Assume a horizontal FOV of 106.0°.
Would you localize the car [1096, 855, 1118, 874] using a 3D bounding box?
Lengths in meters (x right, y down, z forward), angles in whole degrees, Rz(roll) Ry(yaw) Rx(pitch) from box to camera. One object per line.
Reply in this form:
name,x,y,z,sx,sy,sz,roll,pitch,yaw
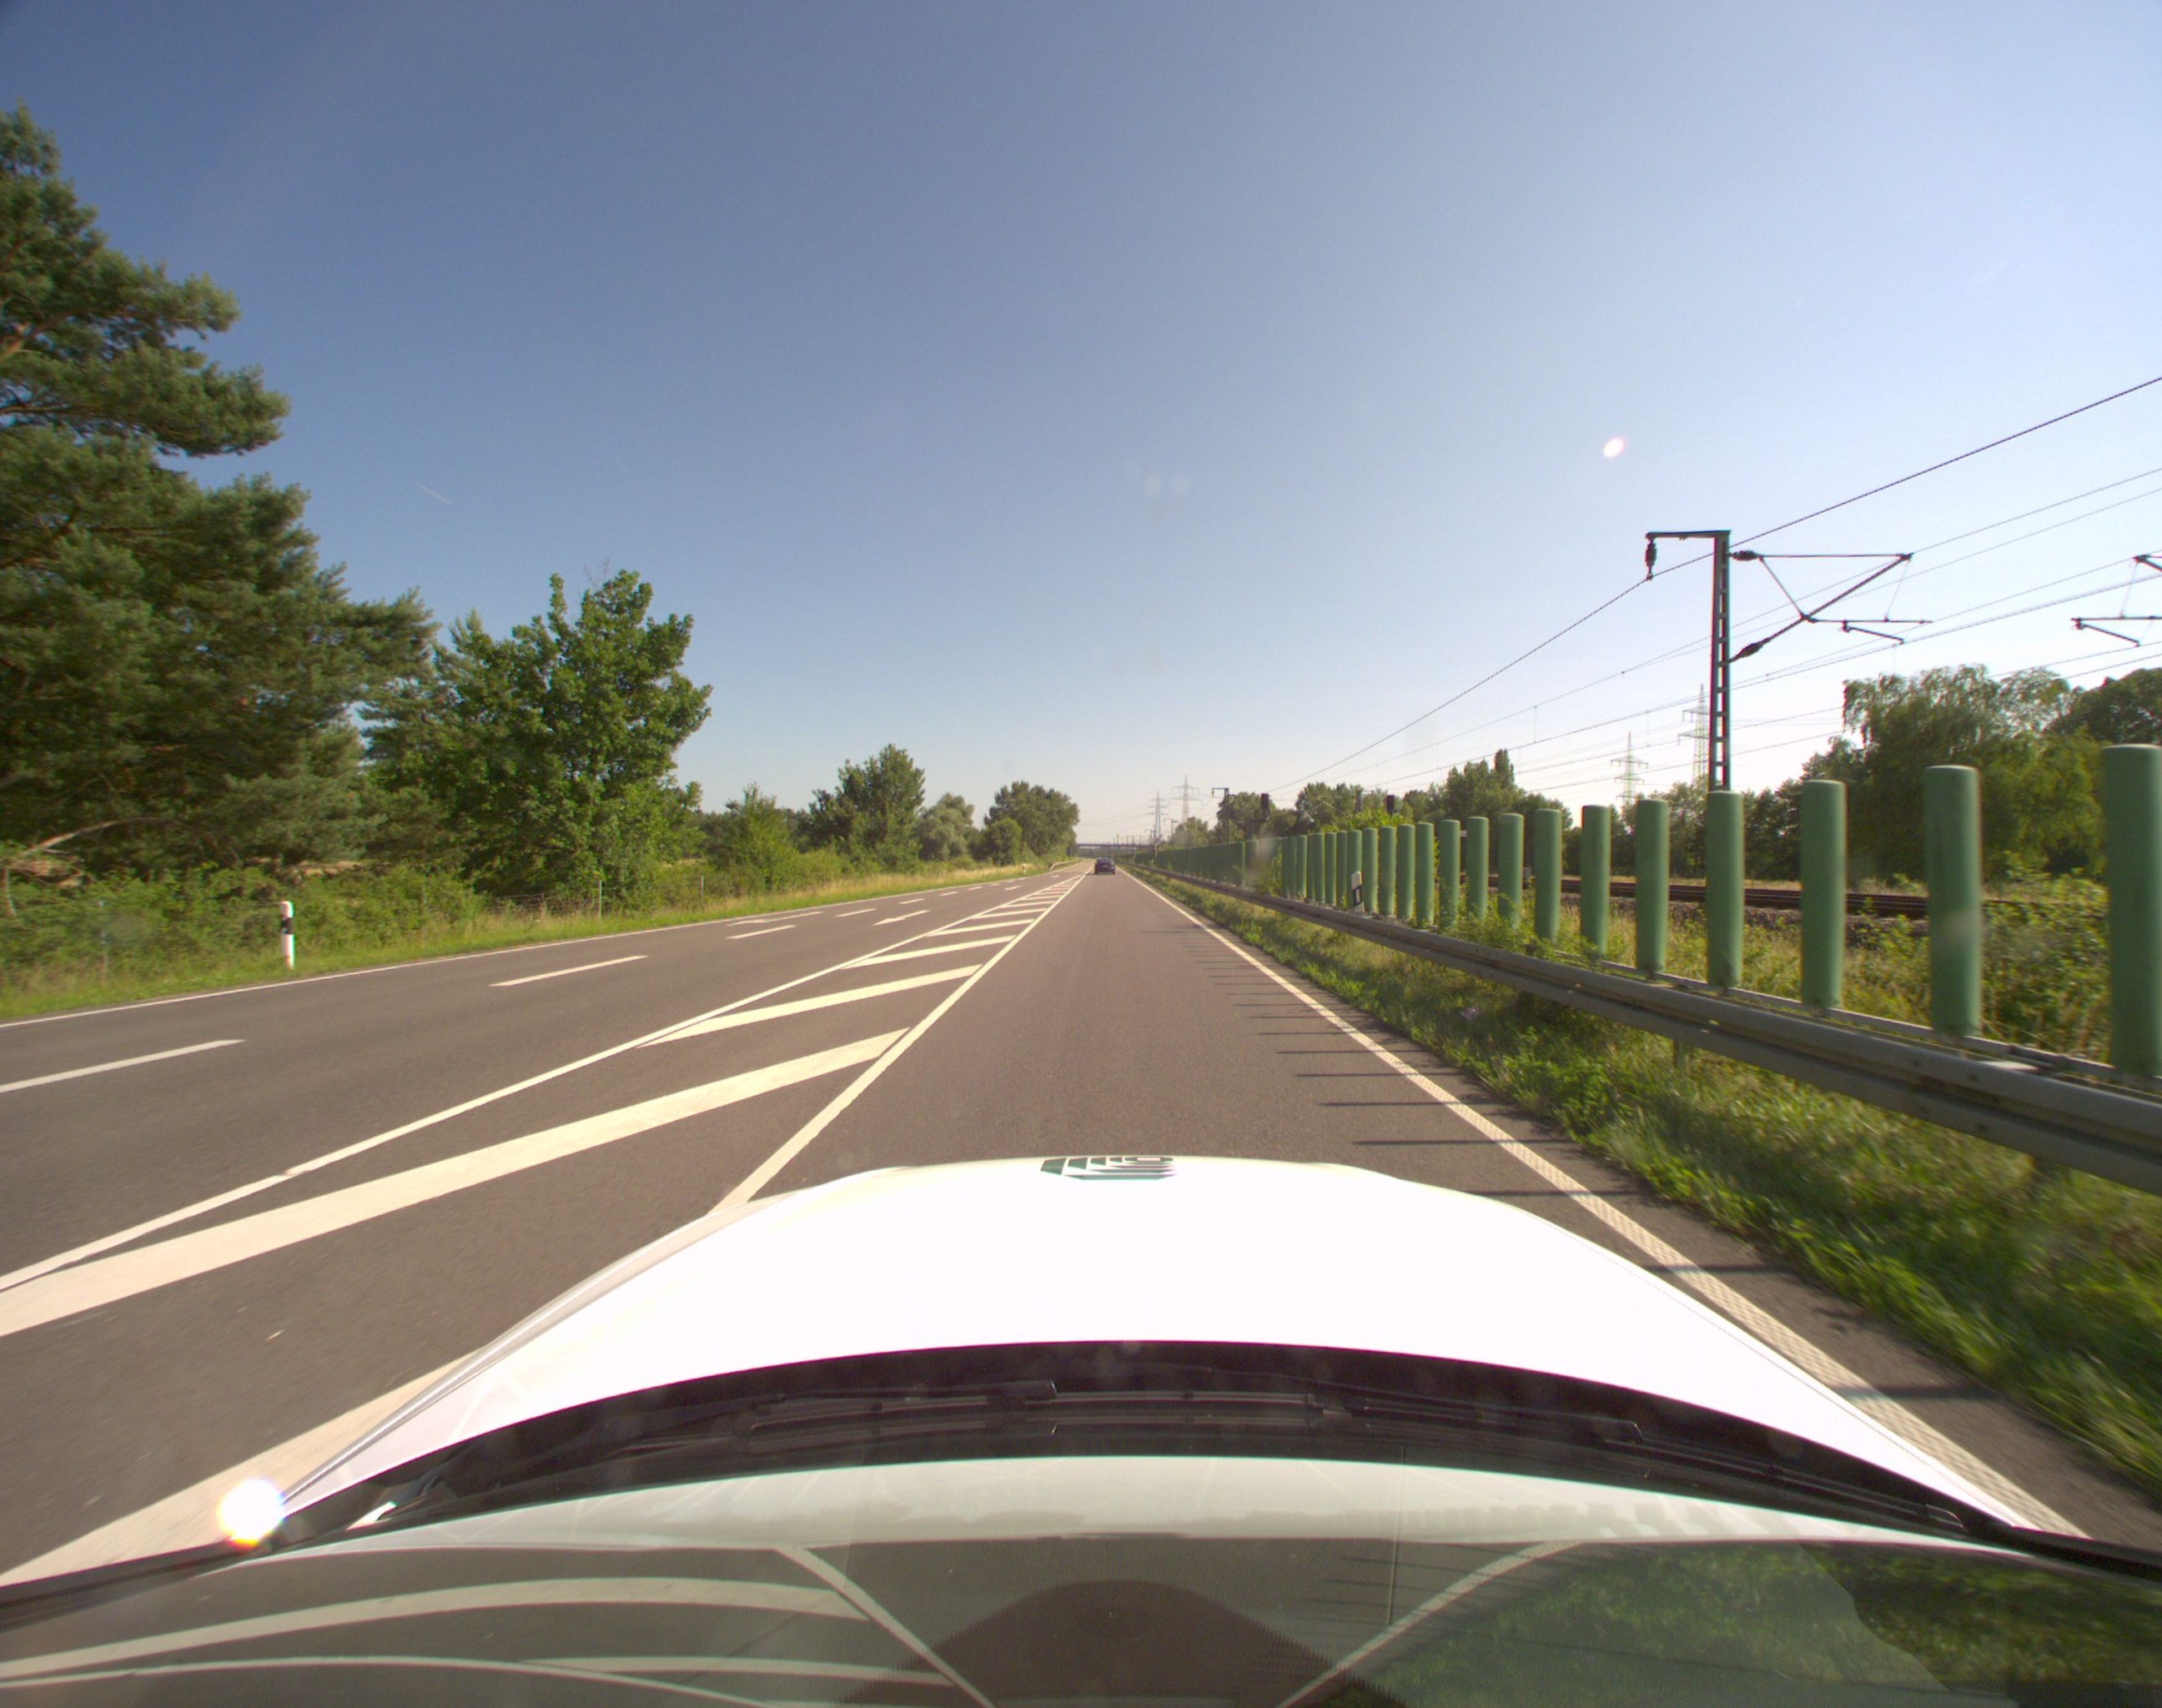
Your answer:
car,2.284,0.939,72.935,1.852,1.642,4.001,-2,0,1
